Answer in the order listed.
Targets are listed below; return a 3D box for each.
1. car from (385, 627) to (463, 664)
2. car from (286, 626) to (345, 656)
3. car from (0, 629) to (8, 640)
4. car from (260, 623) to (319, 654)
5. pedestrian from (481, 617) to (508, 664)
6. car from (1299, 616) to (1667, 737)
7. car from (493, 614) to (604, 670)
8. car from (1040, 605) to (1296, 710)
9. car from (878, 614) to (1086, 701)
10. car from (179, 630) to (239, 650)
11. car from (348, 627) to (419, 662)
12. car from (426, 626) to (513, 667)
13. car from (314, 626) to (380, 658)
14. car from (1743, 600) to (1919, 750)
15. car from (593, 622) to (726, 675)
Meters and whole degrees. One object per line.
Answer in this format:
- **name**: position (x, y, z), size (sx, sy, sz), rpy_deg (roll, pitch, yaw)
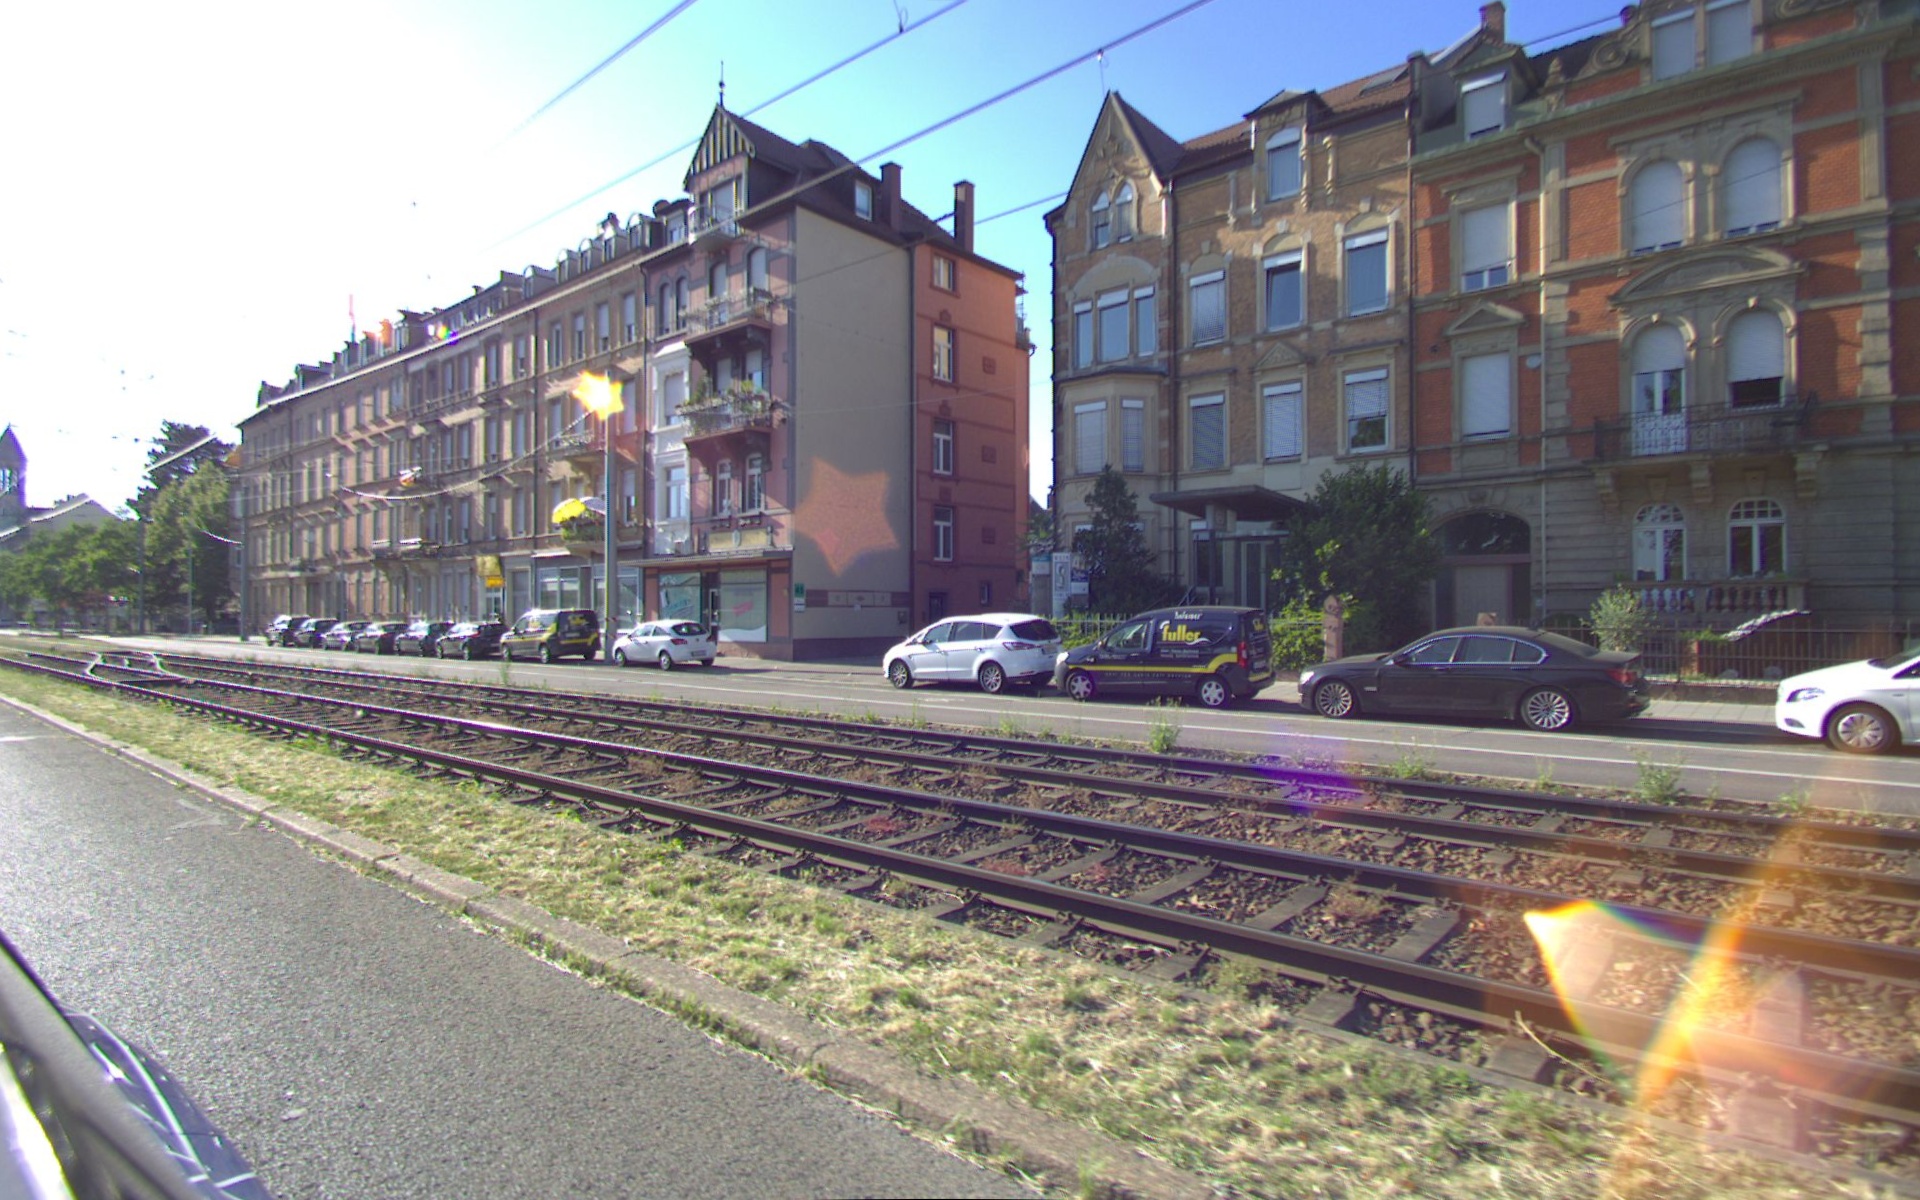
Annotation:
- **car**: position (-23.006, 1.901, 43.394), size (3.979, 1.456, 1.642), rpy_deg (-1, 0, 42)
- **car**: position (-34.290, 2.141, 53.827), size (3.763, 1.456, 1.642), rpy_deg (-1, 0, 42)
- **car**: position (-137.511, 4.927, 144.455), size (3.996, 1.522, 1.776), rpy_deg (-1, -2, 40)
- **car**: position (-37.580, 2.121, 56.697), size (4.631, 1.655, 1.774), rpy_deg (-1, 0, 44)
- **pedestrian**: position (-20.428, 1.783, 44.425), size (0.868, 2.029, 0.634), rpy_deg (-1, 1, 12)
- **car**: position (8.089, 1.087, 15.952), size (4.839, 1.572, 1.901), rpy_deg (-2, 0, 41)
- **car**: position (-14.742, 1.455, 36.149), size (4.724, 1.821, 1.643), rpy_deg (-1, 0, 40)
- **car**: position (3.980, 1.056, 19.719), size (4.491, 1.794, 1.903), rpy_deg (-2, 0, 37)
- **car**: position (0.409, 1.209, 23.014), size (4.626, 1.696, 1.900), rpy_deg (0, 1, 42)
- **car**: position (-65.284, 3.498, 88.042), size (3.931, 1.521, 1.806), rpy_deg (-1, 1, -28)
- **car**: position (-26.815, 2.029, 47.010), size (3.979, 1.456, 1.642), rpy_deg (-1, 0, 42)
- **car**: position (-19.199, 1.764, 39.538), size (3.979, 1.456, 1.642), rpy_deg (-1, 0, 42)
- **car**: position (-30.275, 2.056, 49.938), size (4.195, 1.456, 1.642), rpy_deg (-1, 0, 42)
- **car**: position (12.407, 0.860, 11.932), size (4.843, 1.707, 1.899), rpy_deg (-2, 0, 44)
- **car**: position (-9.594, 1.482, 32.157), size (4.626, 1.550, 1.900), rpy_deg (-1, -1, 42)
